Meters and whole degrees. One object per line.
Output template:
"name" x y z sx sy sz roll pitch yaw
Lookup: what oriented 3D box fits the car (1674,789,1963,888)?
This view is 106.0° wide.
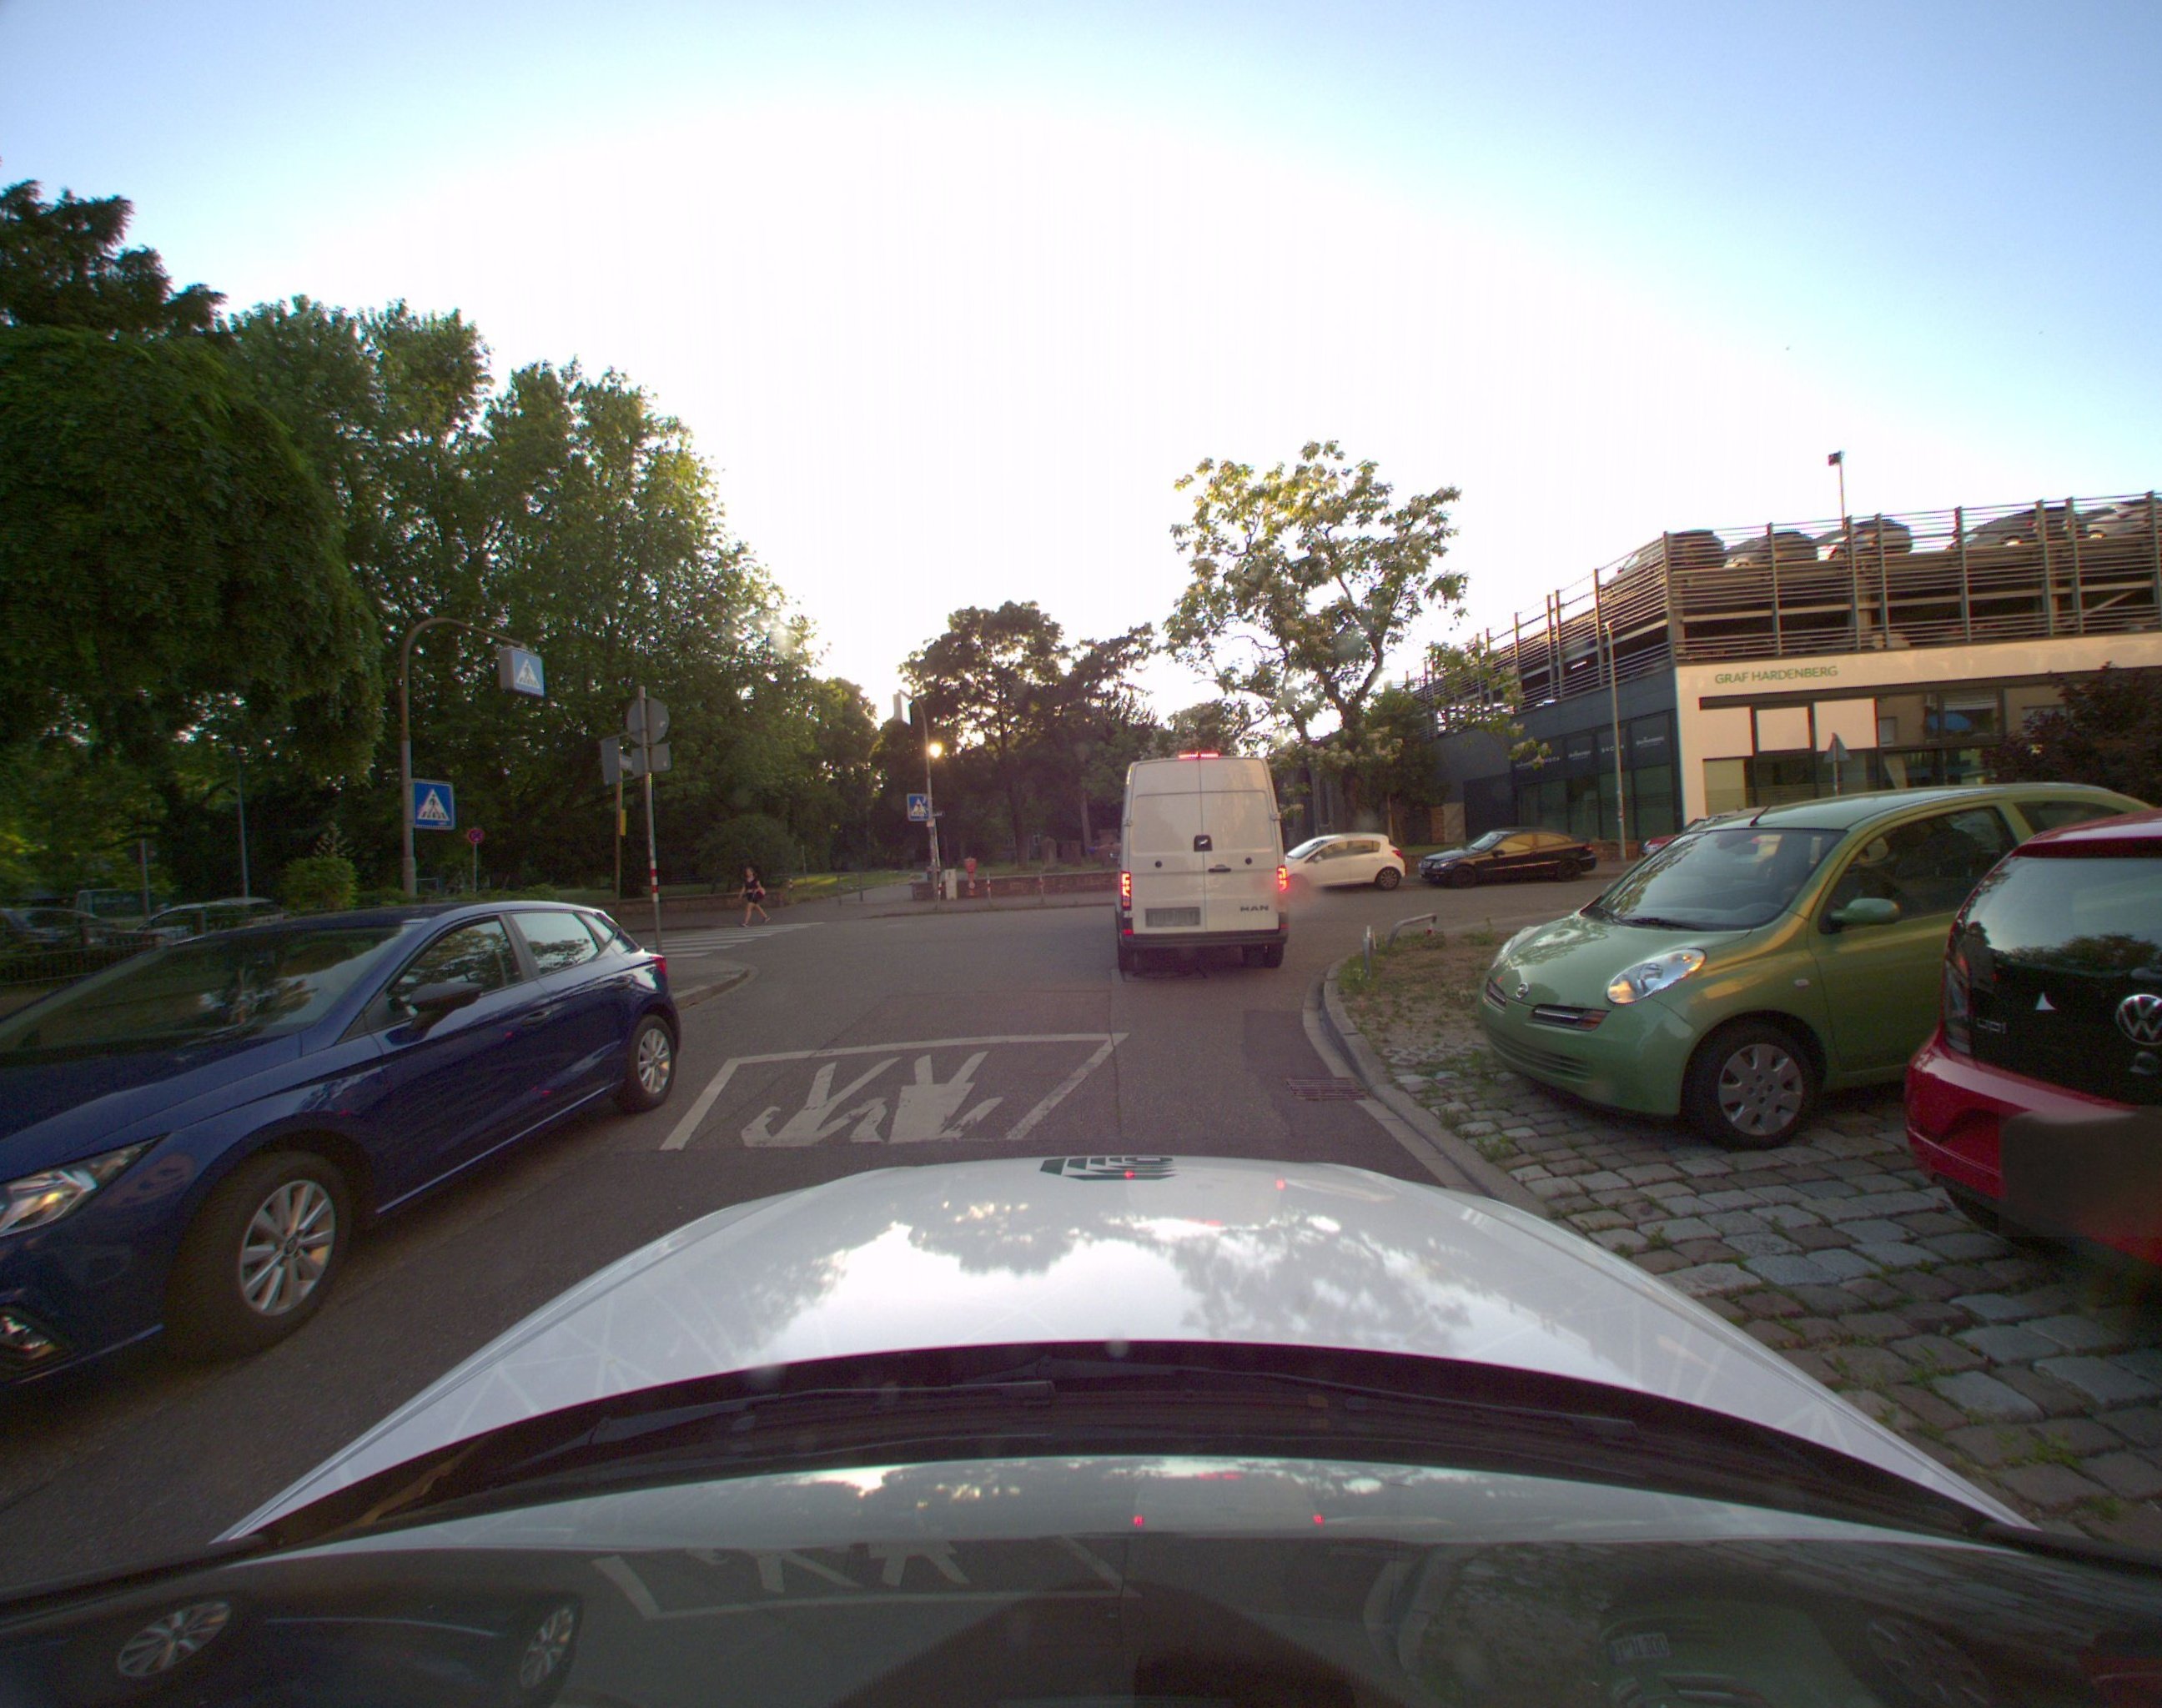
"car" 14.247 -0.288 15.941 3.819 1.523 1.826 -4 0 4

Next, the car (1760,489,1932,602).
"car" 24.499 -9.834 26.310 1.984 2.013 4.006 -2 0 6

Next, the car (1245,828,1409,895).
"car" 6.652 0.190 22.342 3.844 1.574 1.957 -3 0 -2

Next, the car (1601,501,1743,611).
"car" 19.207 -9.645 26.725 1.984 2.013 4.006 -2 0 6

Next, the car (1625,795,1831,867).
"car" 16.820 -0.585 21.342 3.819 1.503 1.826 -4 0 4

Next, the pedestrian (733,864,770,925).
"pedestrian" -9.233 1.120 22.818 0.640 1.648 0.678 -1 0 38

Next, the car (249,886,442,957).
"car" -20.972 1.897 23.320 3.832 1.491 1.828 -4 6 7

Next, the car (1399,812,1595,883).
"car" 11.080 -0.166 21.944 4.273 1.503 1.825 -4 0 4

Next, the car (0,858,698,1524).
"car" -3.542 0.888 3.802 1.729 1.567 3.787 -5 0 -3

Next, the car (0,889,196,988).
"car" -21.465 1.791 16.925 4.212 1.799 1.824 -4 -3 2

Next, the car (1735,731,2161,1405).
"car" 4.755 0.274 2.147 4.386 1.631 1.847 -7 0 2

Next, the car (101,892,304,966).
"car" -25.680 2.177 23.897 3.852 1.562 1.826 -4 6 3

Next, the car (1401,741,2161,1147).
"car" 4.458 0.363 4.706 4.392 1.631 1.844 -4 -2 -2

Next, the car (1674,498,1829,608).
"car" 21.772 -9.723 26.685 1.984 2.013 4.006 -2 0 6

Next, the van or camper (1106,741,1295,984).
"van or camper" 1.610 0.072 12.178 1.984 2.618 6.412 -2 0 5
